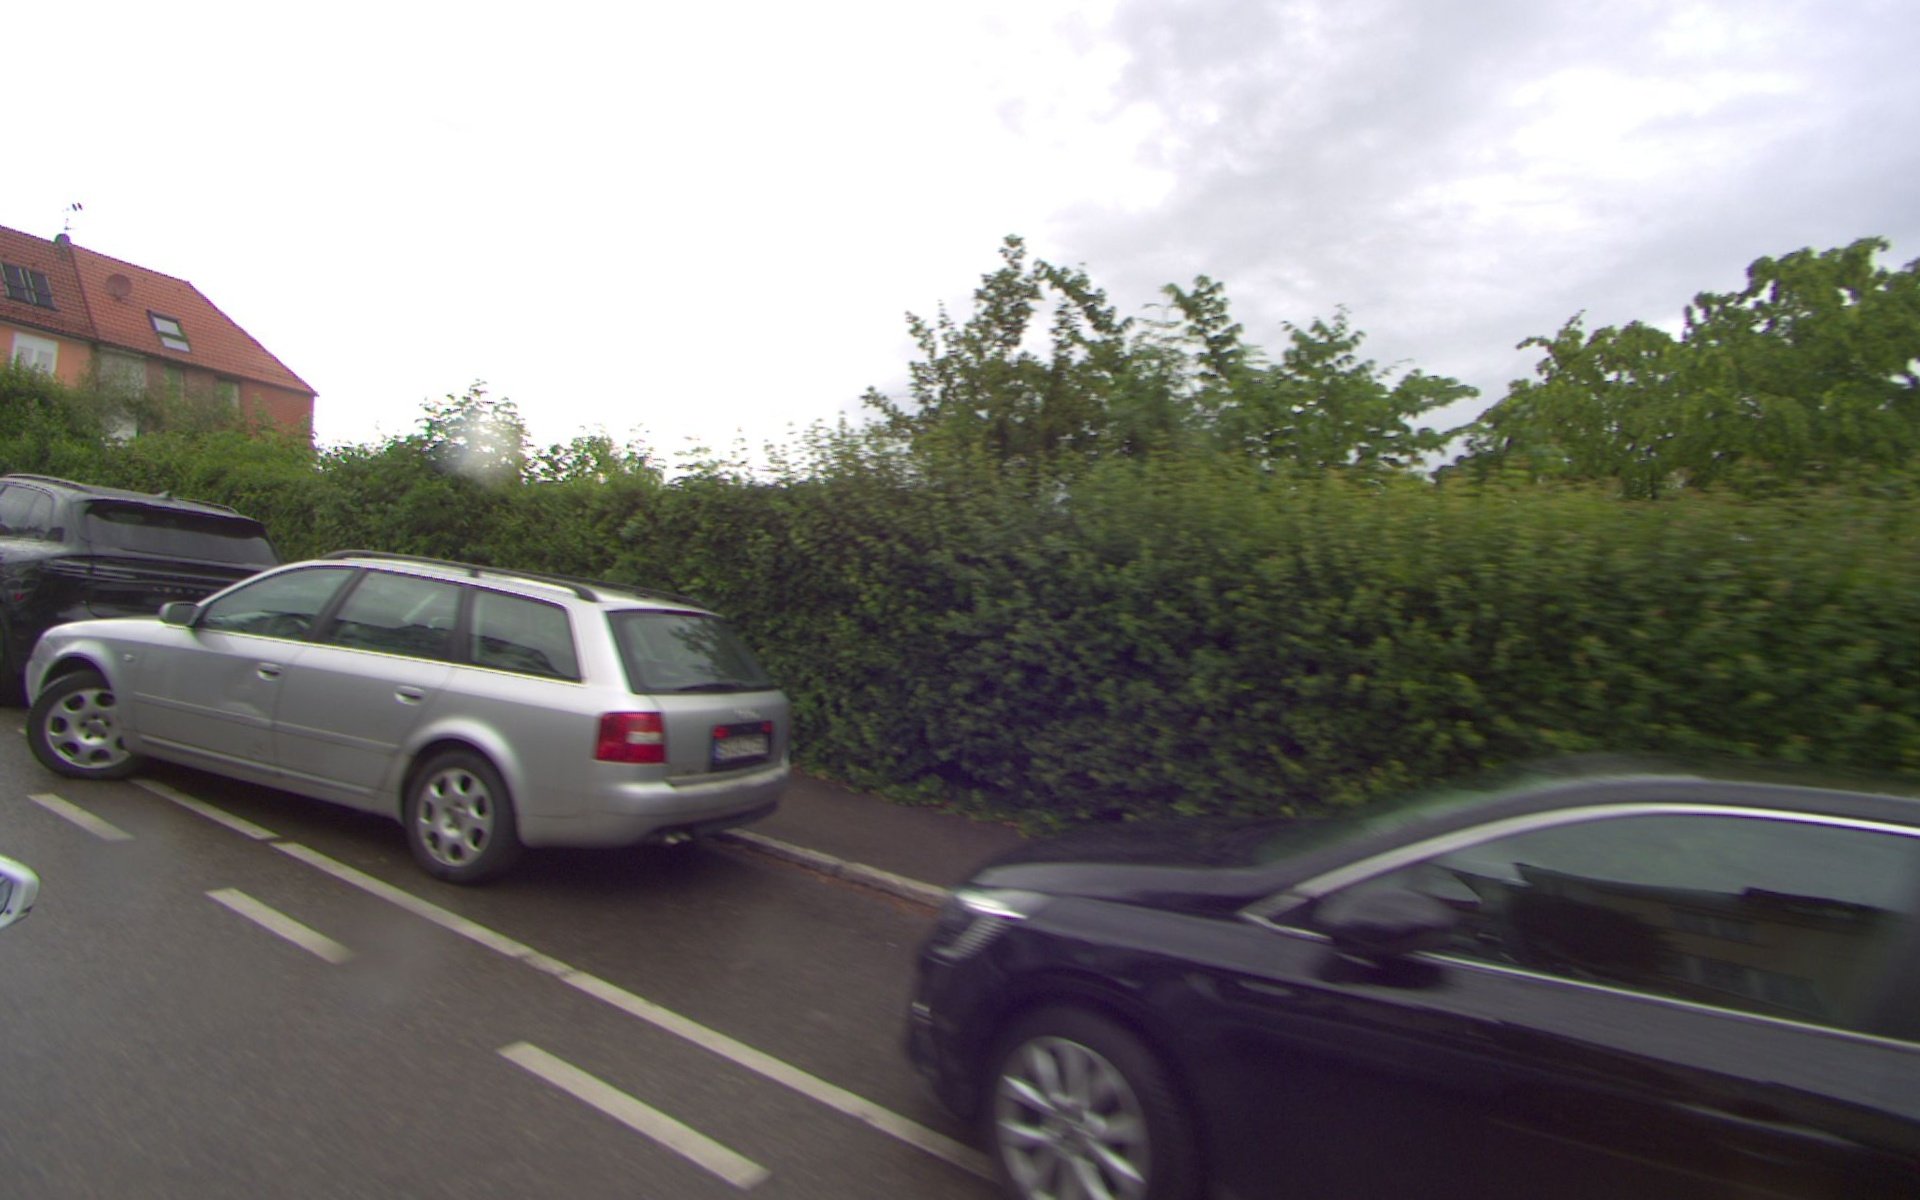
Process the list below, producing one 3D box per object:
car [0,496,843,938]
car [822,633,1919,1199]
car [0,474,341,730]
[{"bbox_3d":[-3.201,0.458,5.786,4.555,1.458,1.805,8,0,18],"label":"car"},{"bbox_3d":[1.765,1.056,2.521,3.918,1.440,1.690,7,0,33],"label":"car"},{"bbox_3d":[-7.624,-0.126,8.663,4.471,1.682,1.891,7,-1,30],"label":"car"}]
